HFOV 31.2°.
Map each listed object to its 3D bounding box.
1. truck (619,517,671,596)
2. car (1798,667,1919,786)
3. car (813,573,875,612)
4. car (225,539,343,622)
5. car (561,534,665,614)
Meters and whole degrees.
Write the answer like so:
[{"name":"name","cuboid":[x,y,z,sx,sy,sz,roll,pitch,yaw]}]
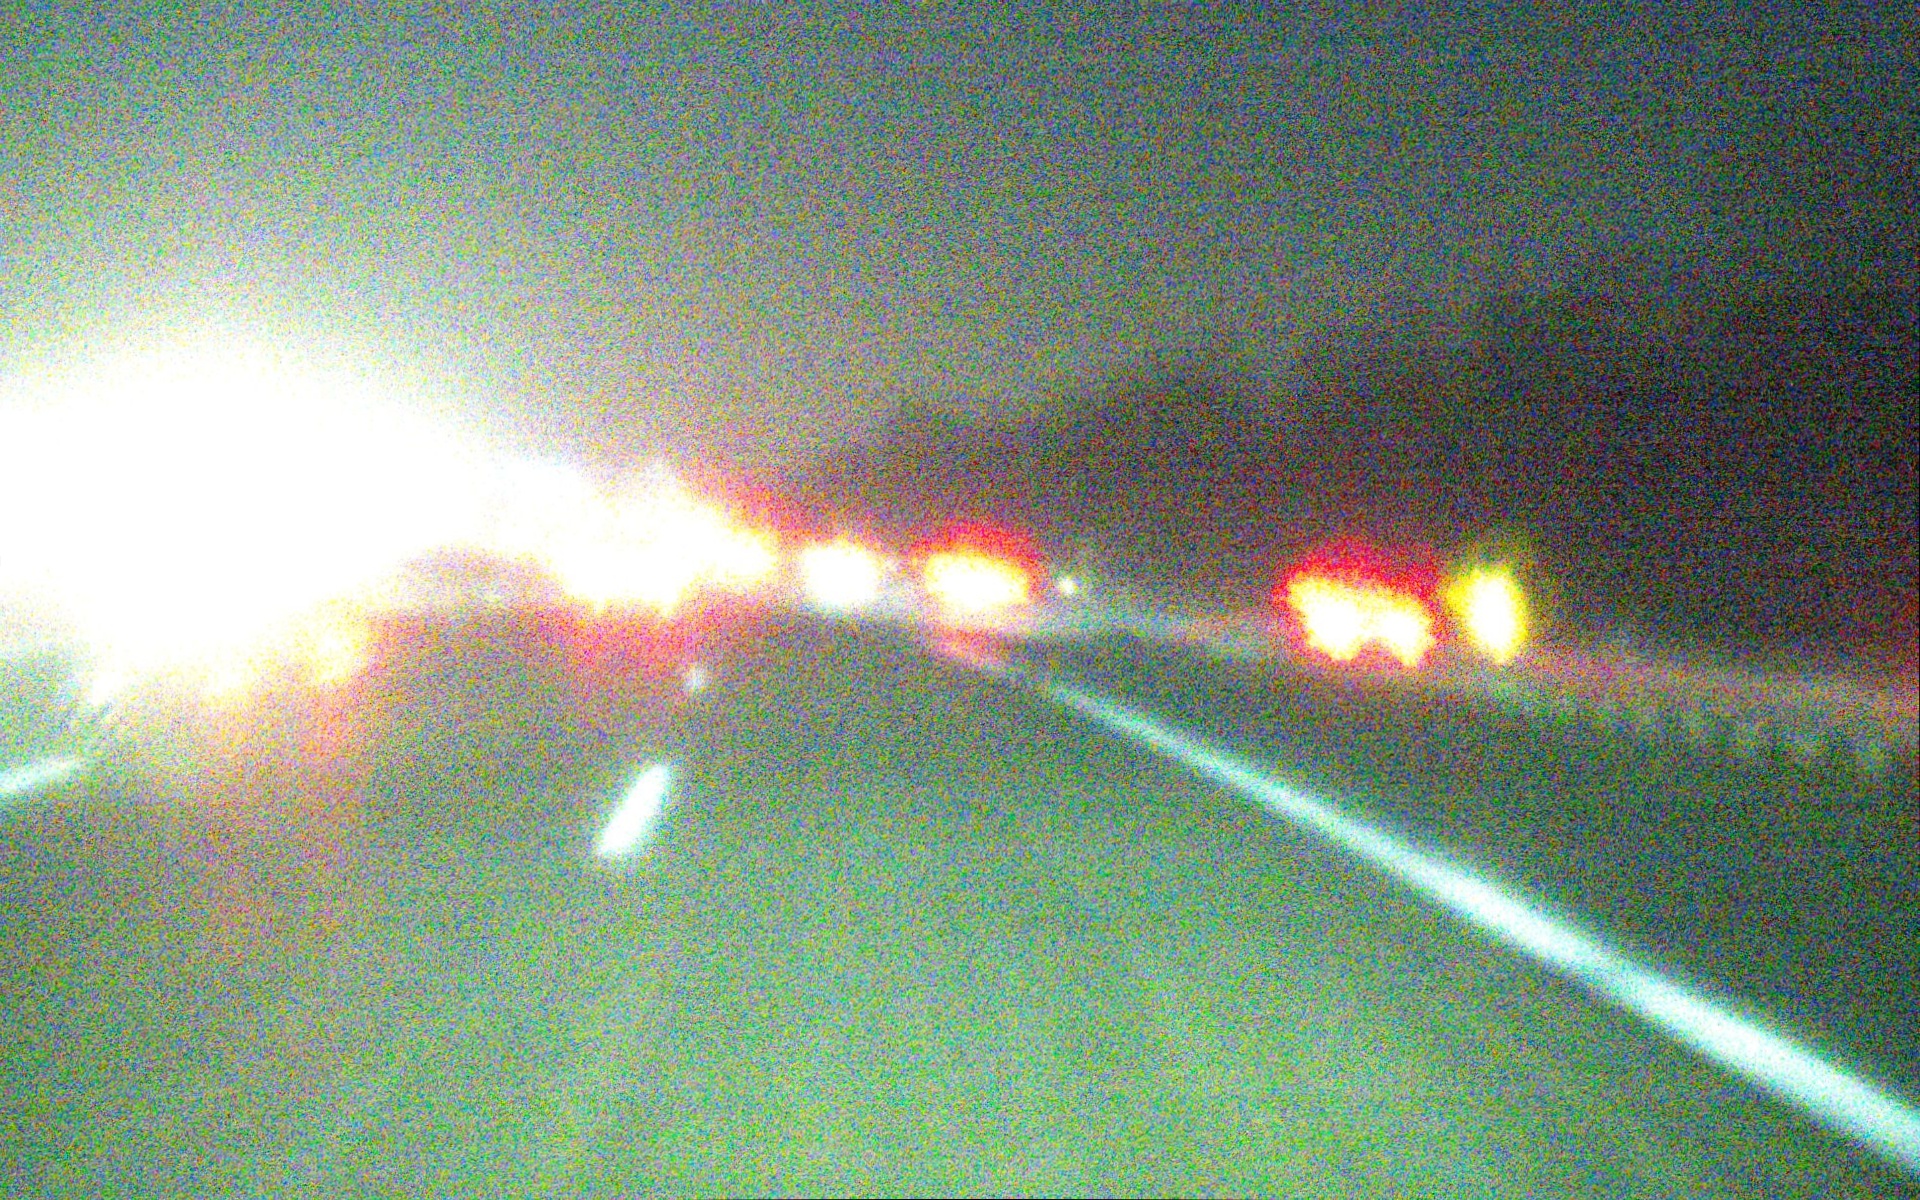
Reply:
[{"name":"truck","cuboid":[-12.772,-1.724,139.179,1.993,3.032,6.466,1,-1,-6]},{"name":"car","cuboid":[13.826,1.853,49.588,1.719,1.492,4.045,4,1,-11]},{"name":"car","cuboid":[-4.025,-0.271,119.127,1.580,1.242,3.069,4,-1,-11]},{"name":"car","cuboid":[-10.488,-0.280,53.511,1.662,1.232,3.762,1,-1,-9]},{"name":"car","cuboid":[-6.657,-0.481,66.237,1.801,1.482,4.000,0,0,-3]}]
